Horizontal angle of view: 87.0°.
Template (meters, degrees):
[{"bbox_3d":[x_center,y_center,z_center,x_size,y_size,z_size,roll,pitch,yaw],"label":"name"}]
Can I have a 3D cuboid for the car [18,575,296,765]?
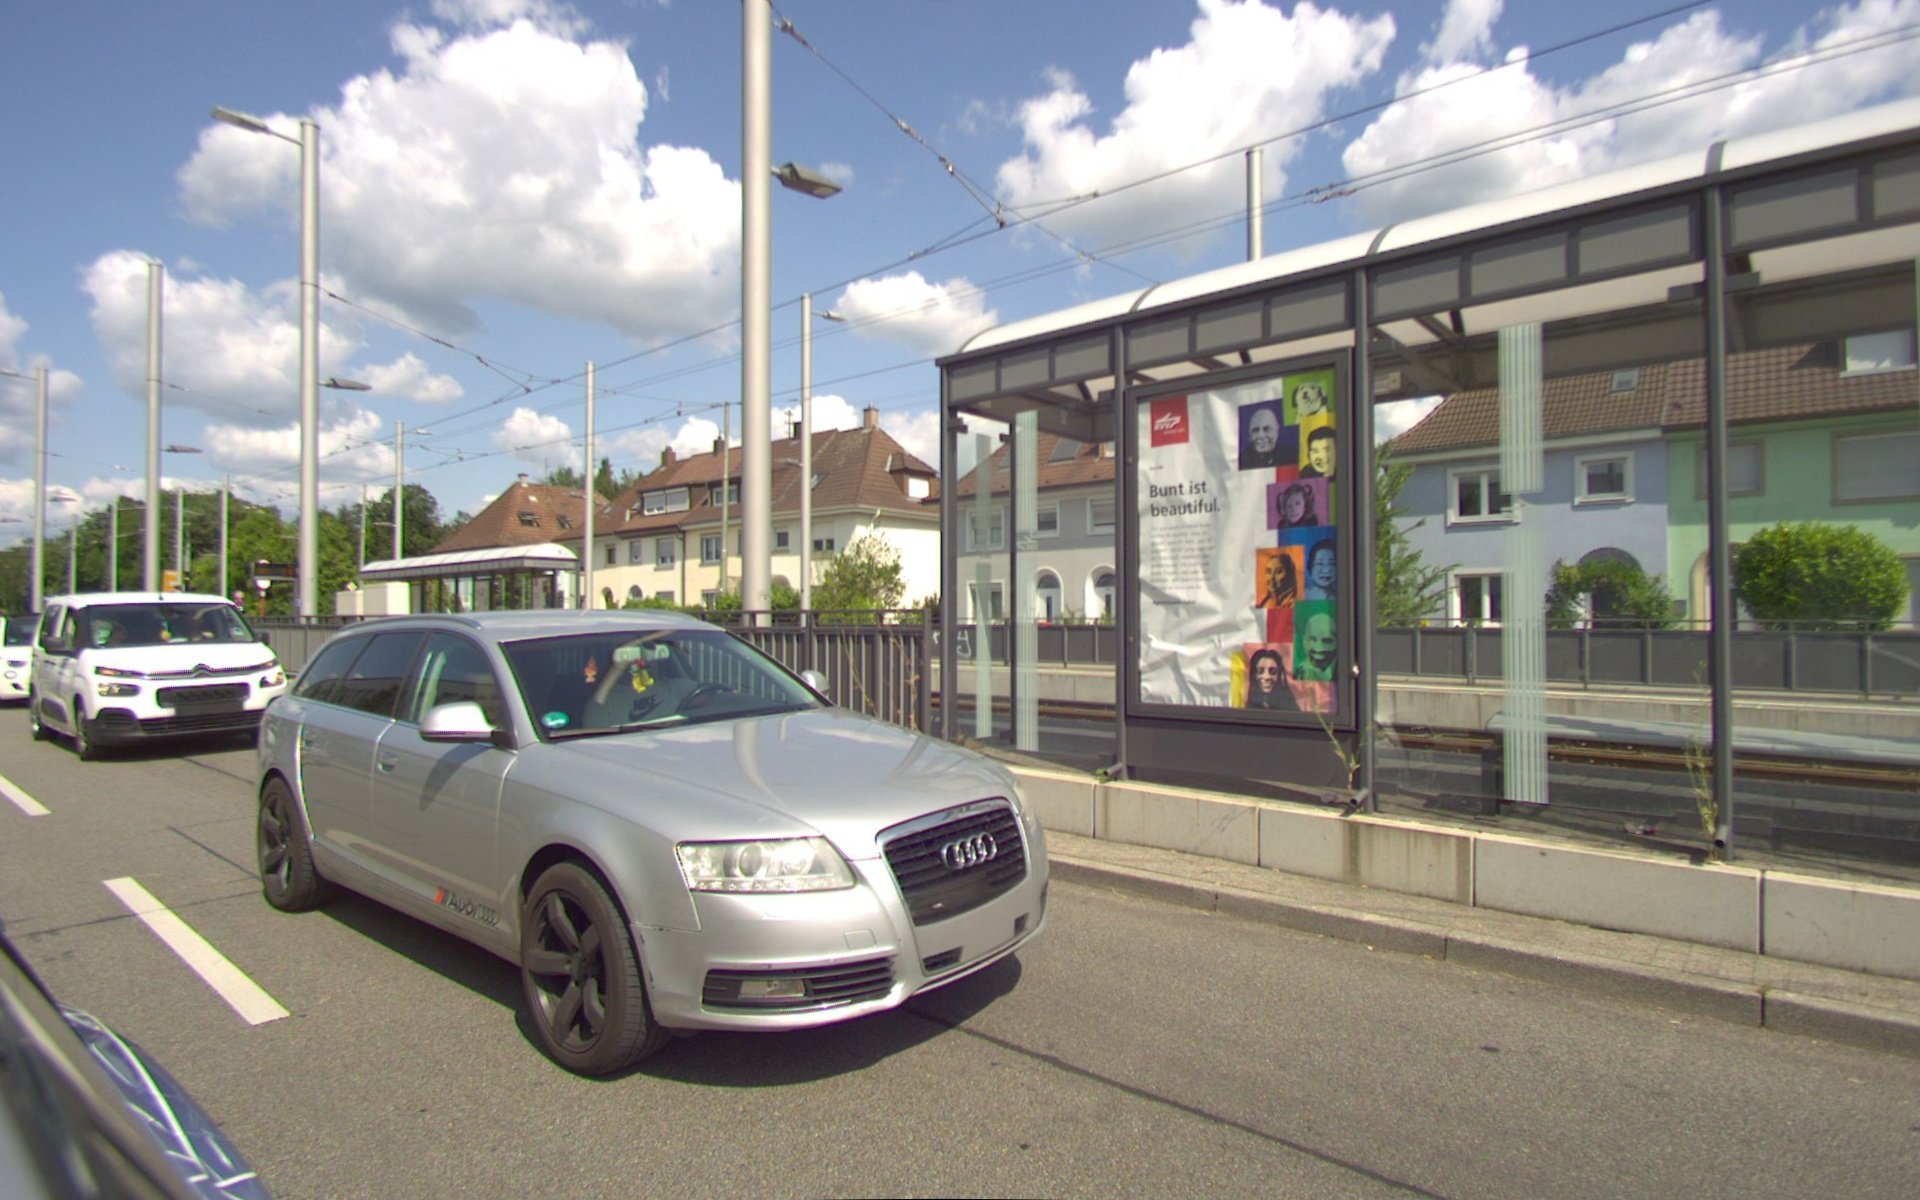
[{"bbox_3d":[-9.491,0.680,11.835,4.327,1.829,1.776,-1,0,41],"label":"car"}]

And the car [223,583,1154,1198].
[{"bbox_3d":[-1.640,0.708,4.658,4.718,1.483,1.776,-1,0,40],"label":"car"}]

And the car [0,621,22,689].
[{"bbox_3d":[-22.170,1.208,22.340,3.555,1.433,1.659,-1,0,39],"label":"car"}]

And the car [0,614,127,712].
[{"bbox_3d":[-15.989,1.034,17.610,3.390,1.515,1.659,-1,0,39],"label":"car"}]
